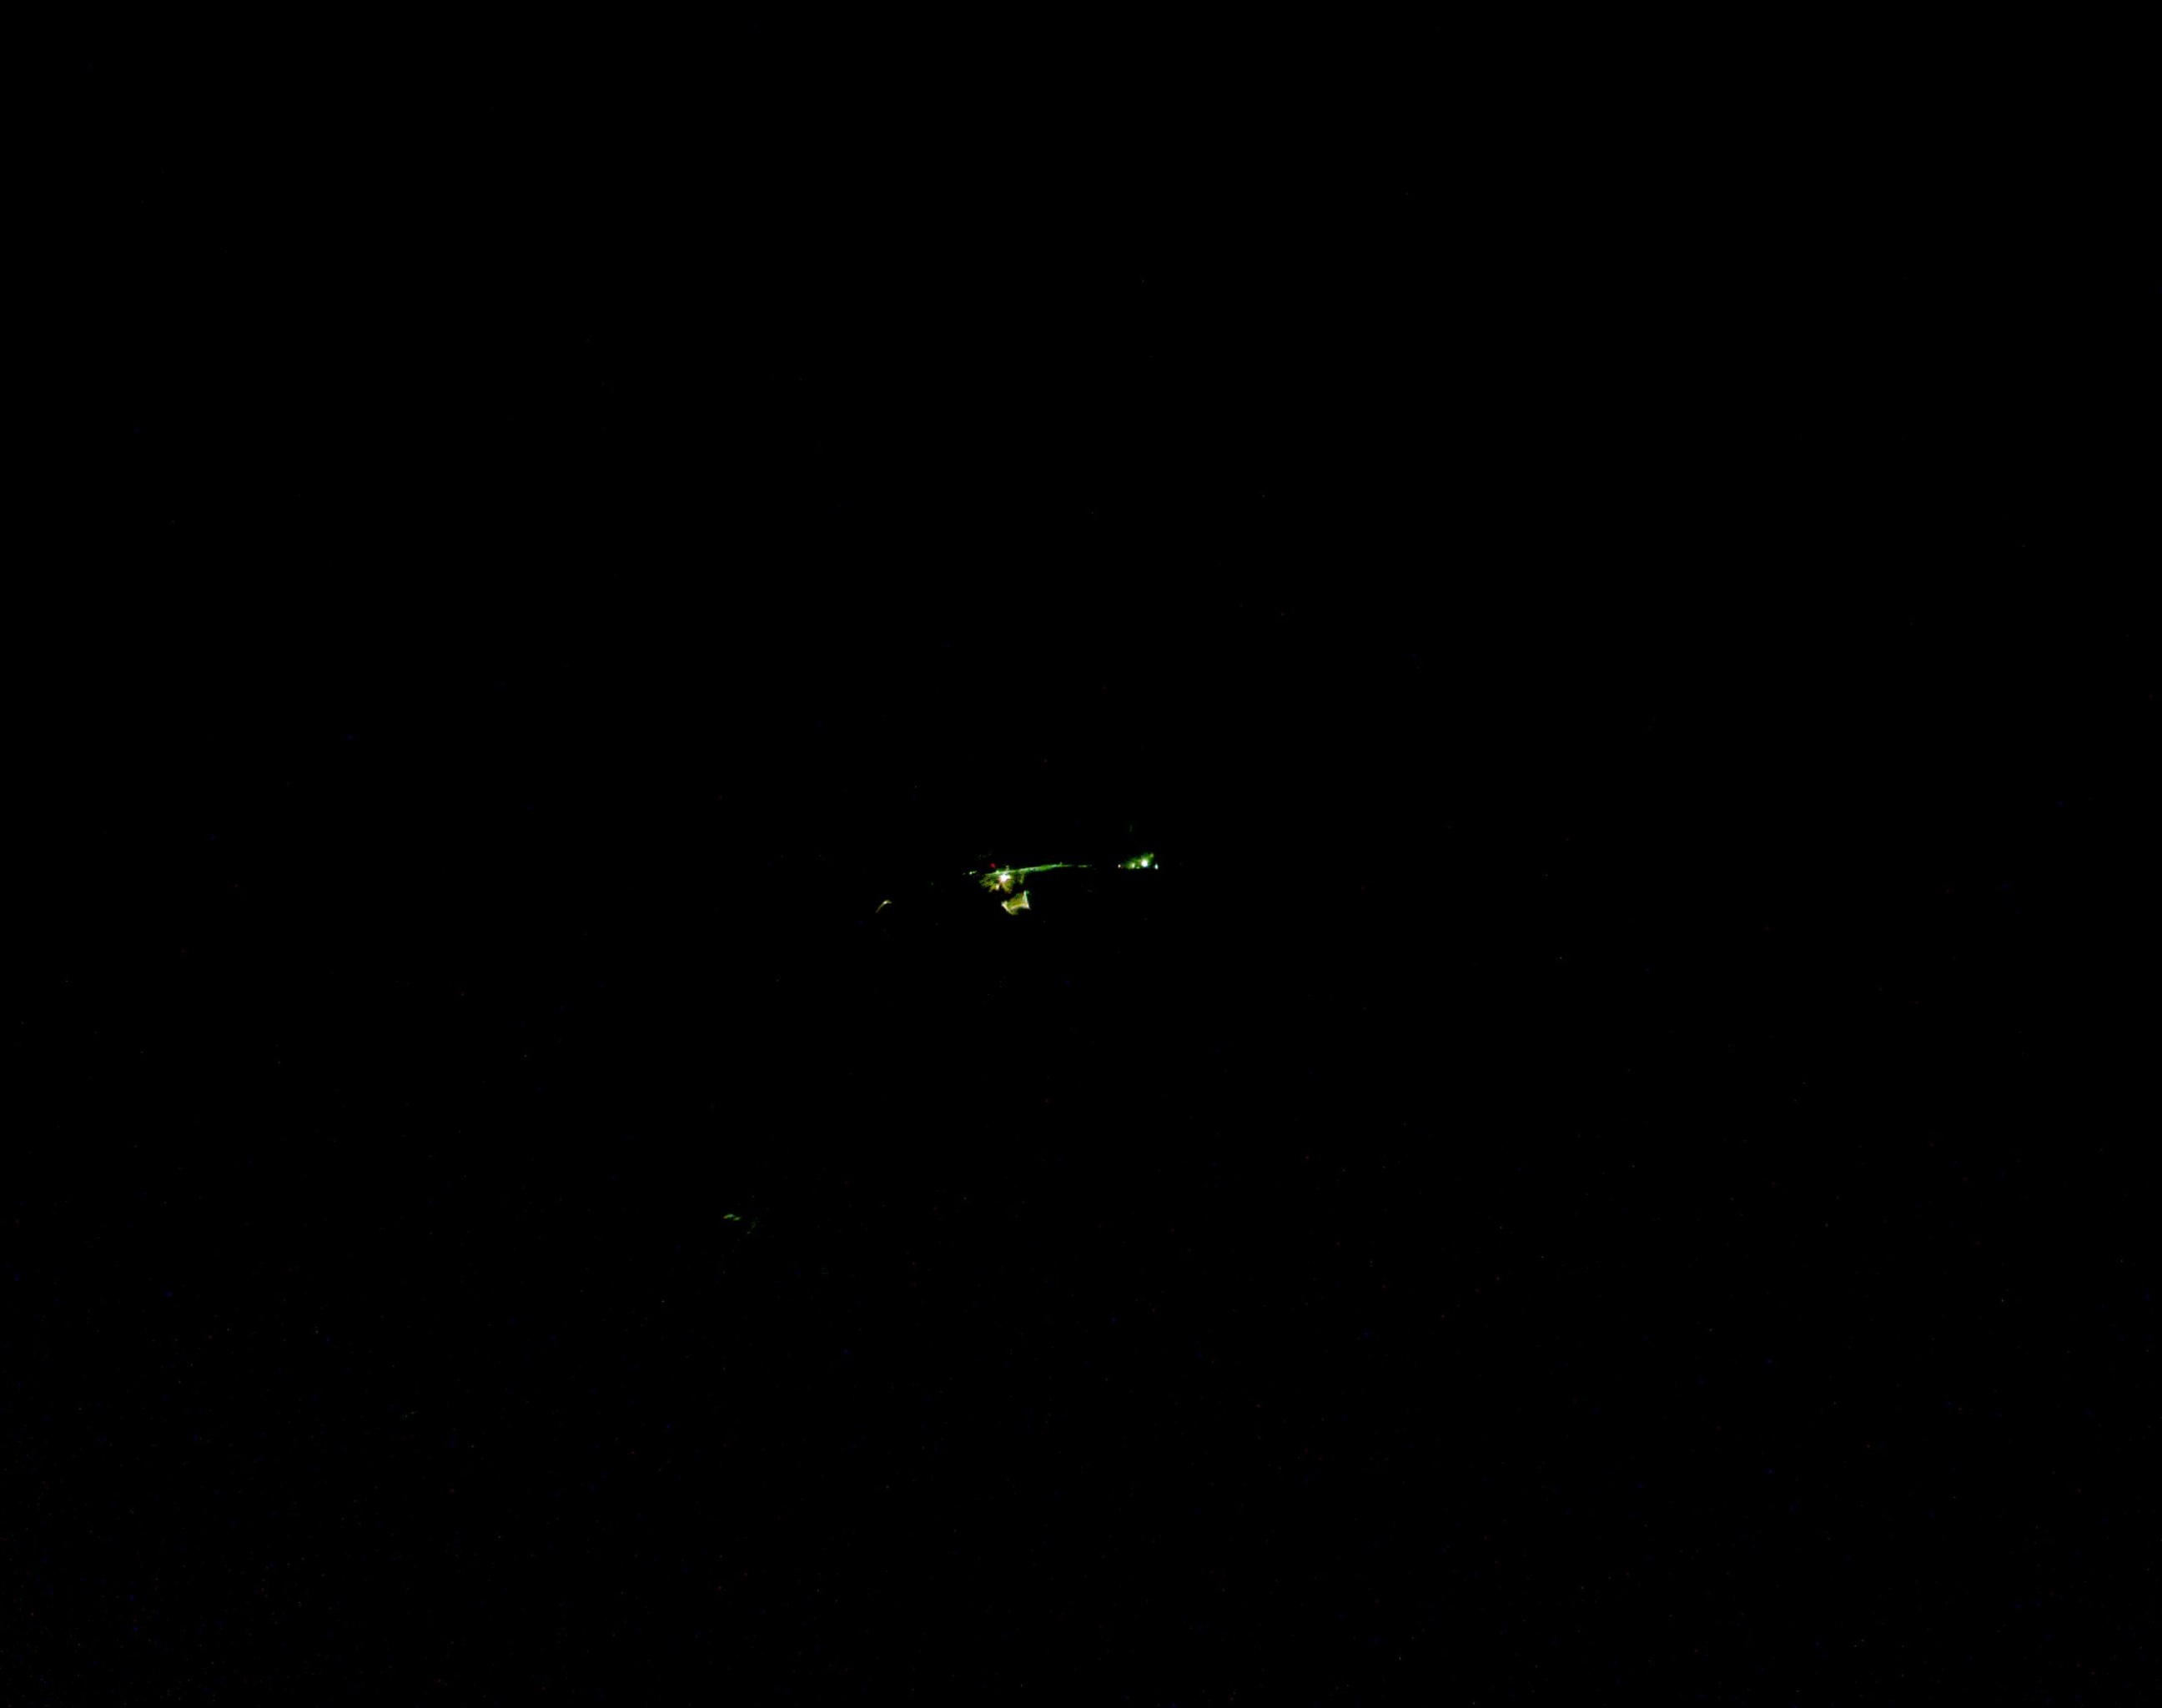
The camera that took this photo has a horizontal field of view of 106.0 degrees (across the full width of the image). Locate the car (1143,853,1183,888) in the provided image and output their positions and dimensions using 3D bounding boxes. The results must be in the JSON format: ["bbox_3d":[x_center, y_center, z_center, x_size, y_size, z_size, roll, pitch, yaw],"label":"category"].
[{"bbox_3d":[4.929,1.069,49.637,2.188,2.014,4.209,0,-3,2],"label":"car"}]
